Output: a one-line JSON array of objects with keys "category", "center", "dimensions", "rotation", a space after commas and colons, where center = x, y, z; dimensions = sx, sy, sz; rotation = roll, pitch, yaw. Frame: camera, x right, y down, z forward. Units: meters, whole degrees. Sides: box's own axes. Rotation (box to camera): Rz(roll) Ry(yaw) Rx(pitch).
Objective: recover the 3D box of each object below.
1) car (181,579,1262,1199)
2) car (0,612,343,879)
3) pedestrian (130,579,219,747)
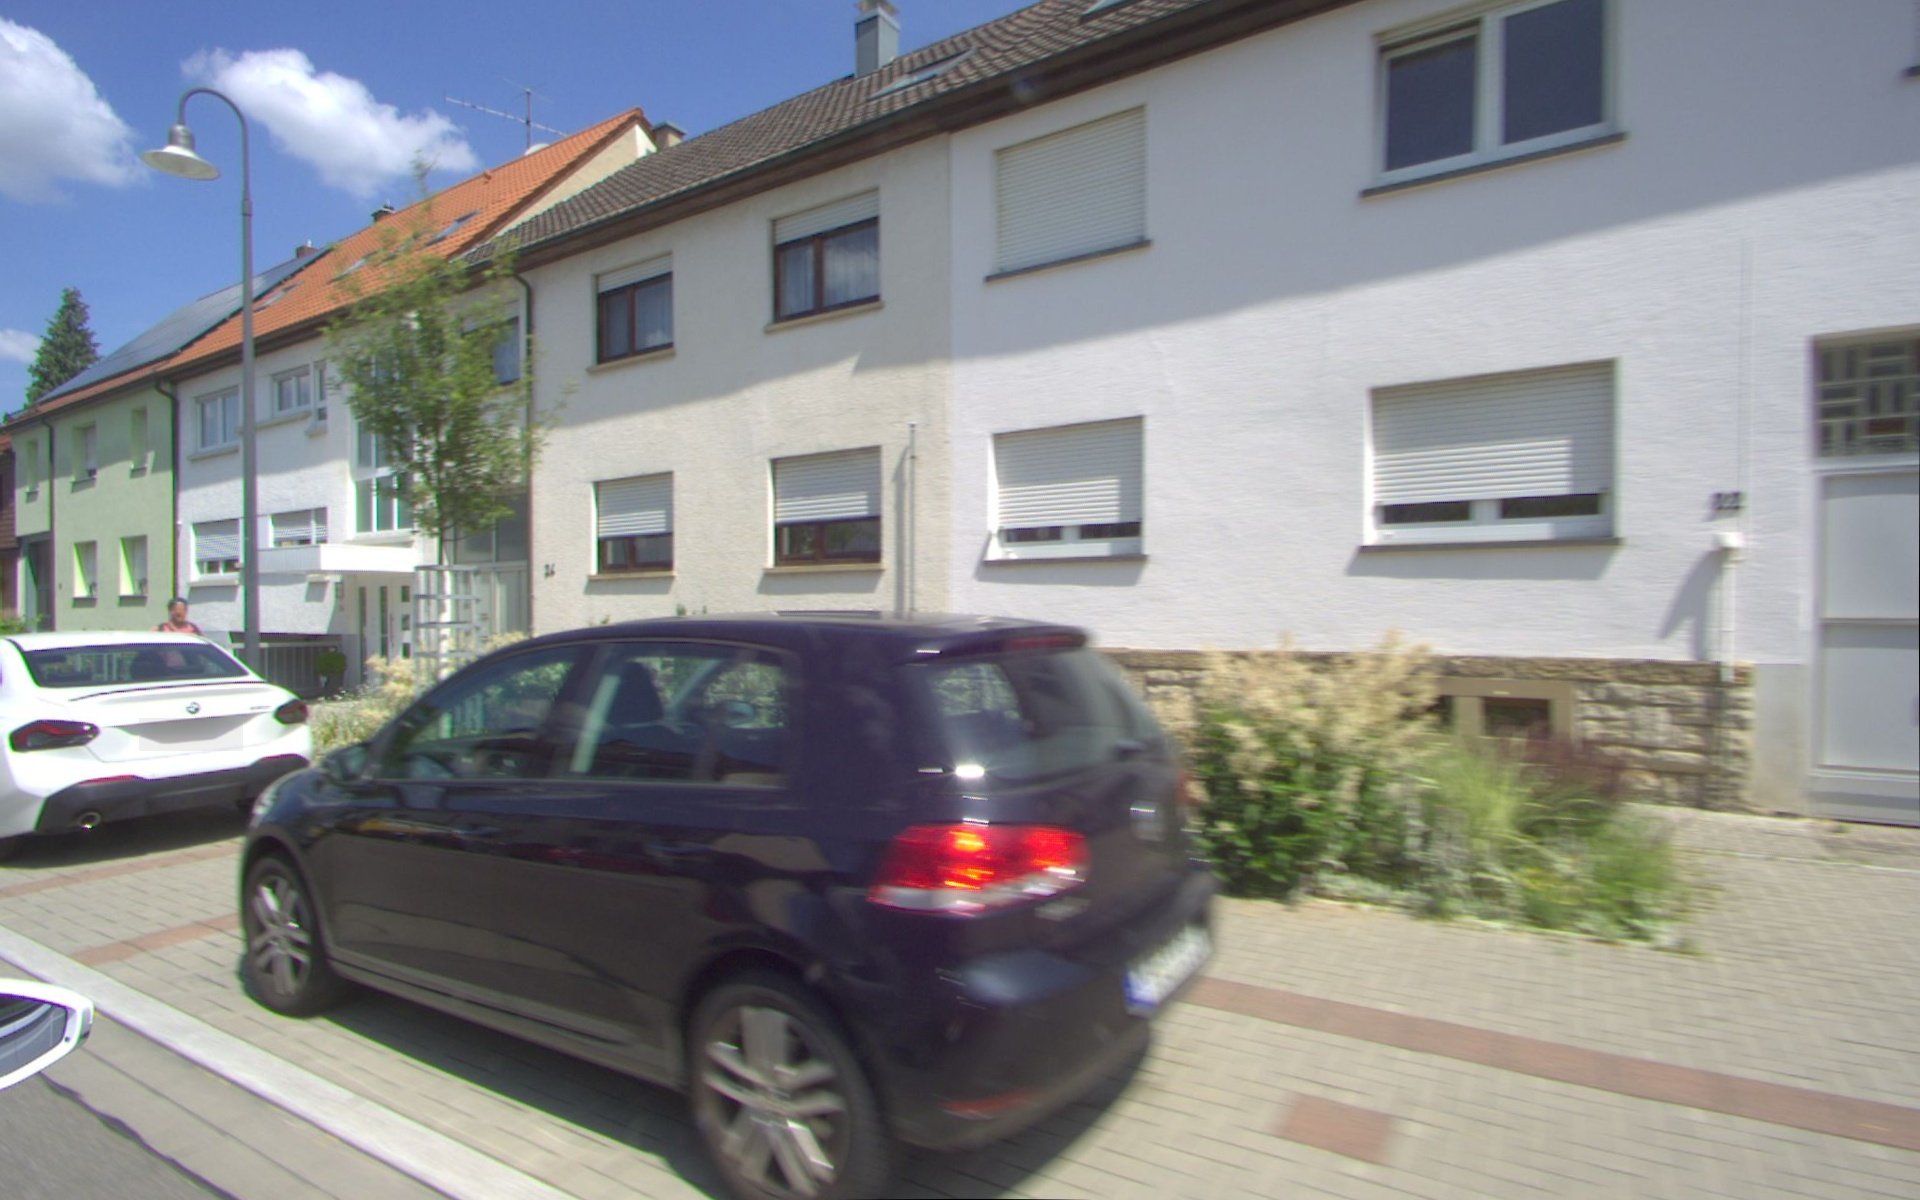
[{"category": "car", "center": [-1.083, 0.775, 3.790], "dimensions": [3.951, 1.549, 1.763], "rotation": [-1, -1, 33]}, {"category": "car", "center": [-6.784, 0.856, 7.519], "dimensions": [4.453, 1.484, 1.830], "rotation": [-1, -1, 31]}, {"category": "pedestrian", "center": [-8.616, 0.677, 10.988], "dimensions": [0.663, 1.772, 0.556], "rotation": [-1, 0, 33]}]
